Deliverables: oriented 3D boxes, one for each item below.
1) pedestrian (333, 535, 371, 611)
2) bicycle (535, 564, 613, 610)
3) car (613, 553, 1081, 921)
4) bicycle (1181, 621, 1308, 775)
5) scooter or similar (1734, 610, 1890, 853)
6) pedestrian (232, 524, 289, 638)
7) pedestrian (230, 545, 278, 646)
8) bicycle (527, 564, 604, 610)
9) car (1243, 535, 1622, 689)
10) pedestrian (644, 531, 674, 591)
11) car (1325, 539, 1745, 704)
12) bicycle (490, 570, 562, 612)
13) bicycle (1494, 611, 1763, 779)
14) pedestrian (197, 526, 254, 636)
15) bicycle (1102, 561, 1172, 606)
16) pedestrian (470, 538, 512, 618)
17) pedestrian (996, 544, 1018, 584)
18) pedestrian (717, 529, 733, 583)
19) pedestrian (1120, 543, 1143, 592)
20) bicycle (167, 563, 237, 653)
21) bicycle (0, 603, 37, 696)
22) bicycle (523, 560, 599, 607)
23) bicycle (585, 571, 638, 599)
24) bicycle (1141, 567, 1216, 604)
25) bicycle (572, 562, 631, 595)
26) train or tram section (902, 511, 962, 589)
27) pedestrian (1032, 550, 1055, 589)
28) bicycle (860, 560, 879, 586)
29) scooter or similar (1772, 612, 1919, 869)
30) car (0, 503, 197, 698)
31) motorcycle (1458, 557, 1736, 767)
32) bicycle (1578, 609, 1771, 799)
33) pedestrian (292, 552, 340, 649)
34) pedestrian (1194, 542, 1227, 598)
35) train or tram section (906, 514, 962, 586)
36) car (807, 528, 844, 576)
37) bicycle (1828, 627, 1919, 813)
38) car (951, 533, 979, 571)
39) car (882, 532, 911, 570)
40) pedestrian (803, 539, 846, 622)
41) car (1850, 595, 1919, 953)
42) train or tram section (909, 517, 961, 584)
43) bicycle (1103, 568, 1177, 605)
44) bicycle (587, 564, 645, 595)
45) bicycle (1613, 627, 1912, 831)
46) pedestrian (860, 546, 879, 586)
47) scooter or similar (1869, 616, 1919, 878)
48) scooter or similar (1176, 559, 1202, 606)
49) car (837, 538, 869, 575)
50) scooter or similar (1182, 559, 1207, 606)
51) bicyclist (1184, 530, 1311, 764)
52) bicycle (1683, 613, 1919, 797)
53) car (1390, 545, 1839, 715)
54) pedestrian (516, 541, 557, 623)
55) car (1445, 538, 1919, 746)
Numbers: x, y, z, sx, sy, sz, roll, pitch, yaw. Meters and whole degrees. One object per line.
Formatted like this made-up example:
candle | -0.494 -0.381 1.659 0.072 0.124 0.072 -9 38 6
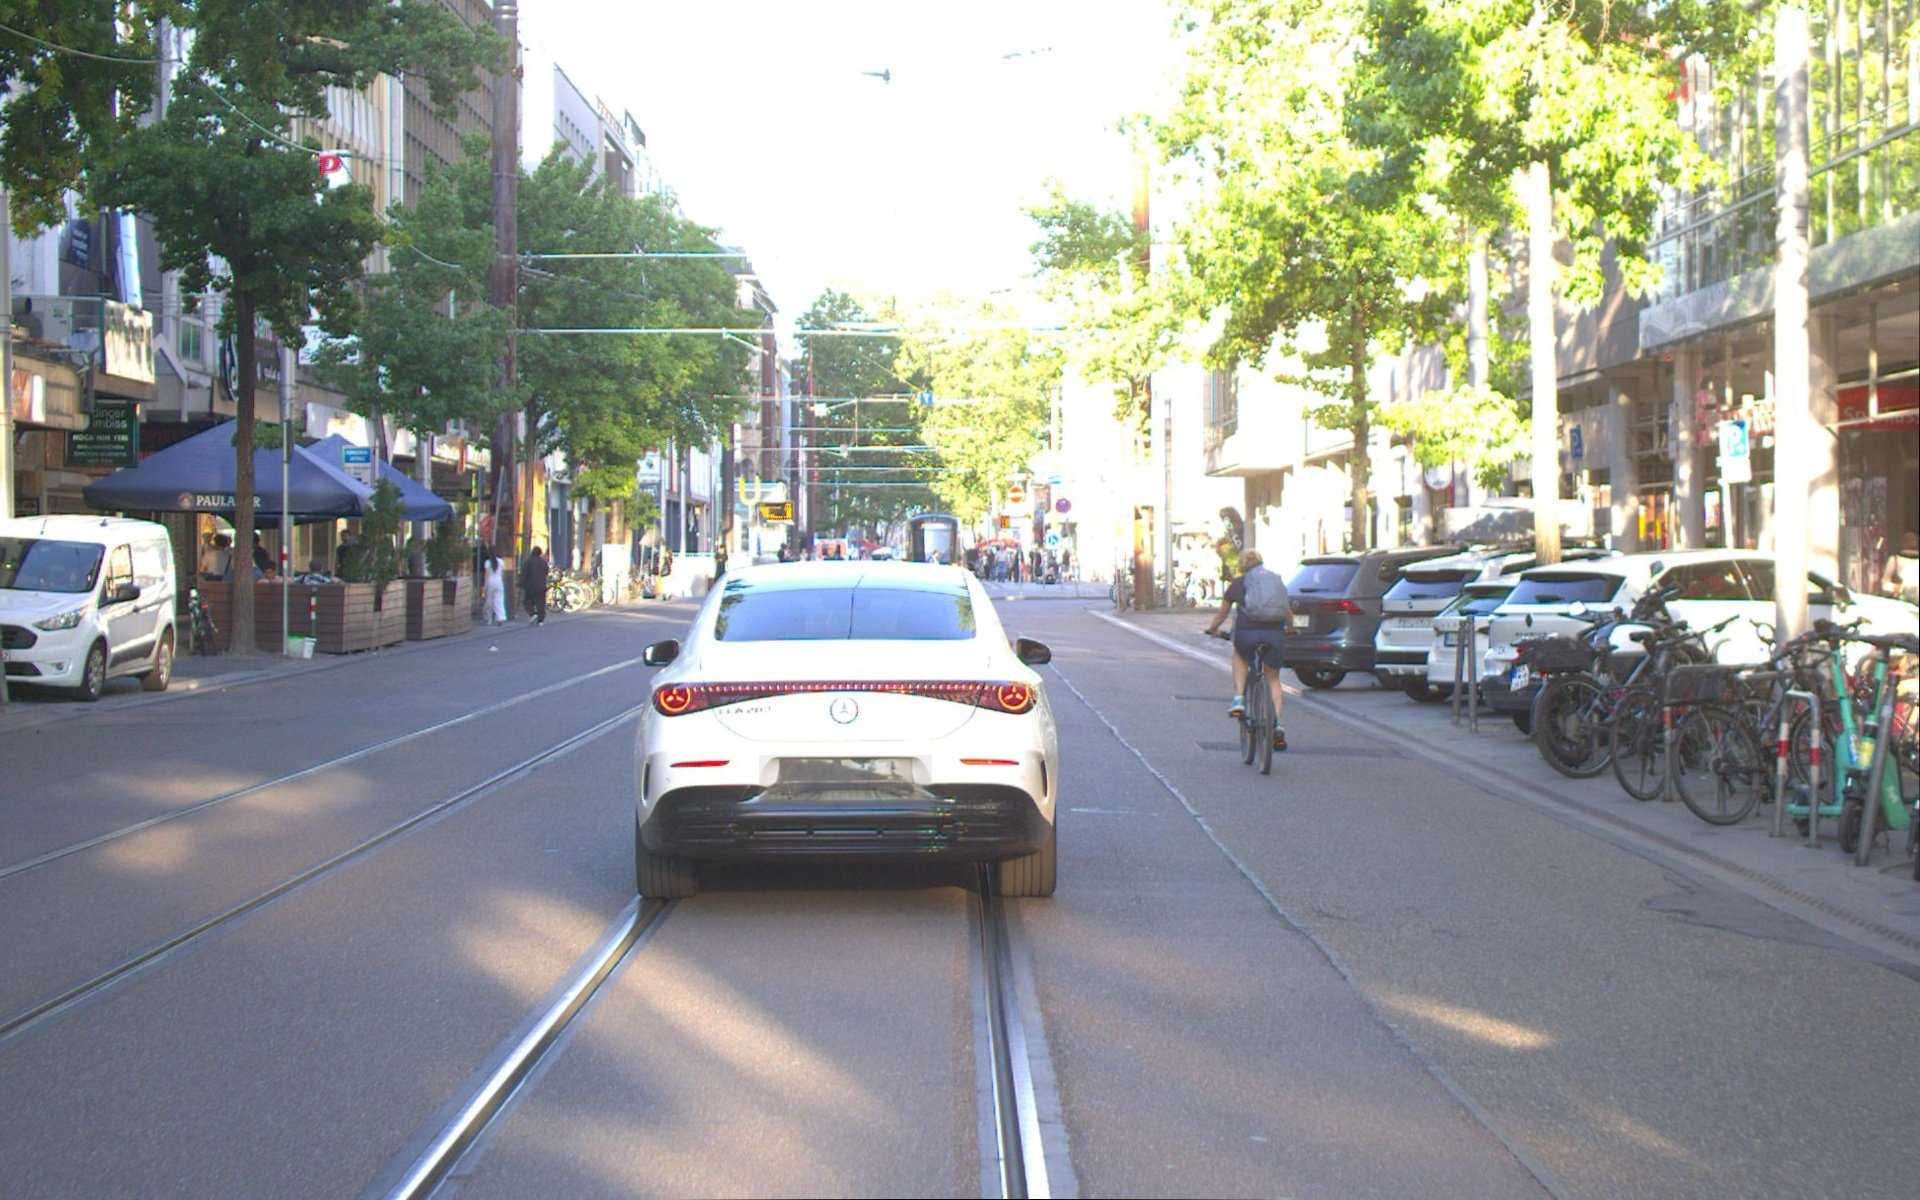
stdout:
pedestrian | -12.498 -0.561 70.674 0.597 1.527 0.671 2 1 1
bicycle | -9.447 -0.330 84.153 1.846 1.073 0.377 2 1 -4
car | -0.469 0.526 15.966 1.857 1.450 4.175 1 1 0
bicycle | 2.057 0.681 24.645 0.719 0.992 2.058 2 1 9
scooter or similar | 4.757 0.714 19.250 0.450 1.272 1.307 -3 1 -1
pedestrian | -10.790 -0.295 53.025 0.717 1.719 0.675 1 1 -1
pedestrian | -10.070 -0.065 49.046 0.549 1.424 0.583 1 1 -1
bicycle | -9.468 -0.314 82.552 1.788 1.073 0.377 2 1 -4
car | 5.678 0.119 41.142 4.342 1.646 1.694 -3 1 -31
pedestrian | -9.108 -1.187 104.037 0.788 1.795 0.844 0 1 1
car | 6.244 0.204 37.226 4.235 1.582 1.884 -3 1 -31
bicycle | -10.086 -0.207 79.868 1.596 0.927 0.377 2 1 7
bicycle | 4.872 0.676 25.016 1.890 1.116 0.667 -2 0 -29
pedestrian | -10.936 -0.286 51.211 0.673 1.601 0.720 1 1 -1
bicycle | 5.162 -0.486 100.130 1.908 1.277 0.610 -2 1 -11
pedestrian | -9.038 -0.419 66.223 0.622 1.504 0.833 3 1 0
pedestrian | 2.151 -1.648 157.858 0.960 1.779 0.804 -1 1 0
pedestrian | -8.375 -1.565 122.341 0.571 1.922 0.541 0 1 -4
pedestrian | 6.253 -1.191 125.569 0.748 1.779 0.767 -1 1 0
bicycle | -10.346 0.094 46.894 0.697 1.117 2.087 3 1 -18
bicycle | -9.732 0.455 32.357 0.836 0.862 1.856 3 1 39
bicycle | -10.066 -0.414 86.688 1.846 1.137 0.377 2 1 1
bicycle | -10.193 -0.434 100.495 1.493 0.780 0.344 2 1 1
bicycle | 6.509 -0.426 102.440 2.113 1.092 0.610 0 0 -13
bicycle | -9.423 -0.569 90.282 1.493 0.838 0.344 2 1 1
train or tram section | -1.269 -2.342 160.703 2.694 3.504 12.545 0 1 0
pedestrian | 3.812 -1.402 157.352 0.960 1.779 0.804 -1 1 0
bicycle | -4.072 -1.217 154.422 0.800 1.138 2.257 2 1 -2
scooter or similar | 5.035 0.719 18.292 1.302 1.272 0.564 -4 1 -31
car | -9.407 -0.050 35.755 1.795 1.858 4.553 3 1 1
motorcycle | 4.945 0.459 26.568 2.313 1.504 0.858 -3 0 -43
bicycle | 4.804 0.684 23.055 0.481 1.159 1.691 -3 1 40
pedestrian | -9.173 0.004 48.992 0.549 1.352 0.583 1 1 -1
pedestrian | 7.994 -0.956 109.699 0.899 1.739 0.689 -3 1 0
train or tram section | -1.291 -2.508 173.256 2.694 3.504 12.545 0 1 0
car | -8.253 -2.938 211.201 1.993 2.887 5.275 0 1 0
bicycle | 6.364 0.711 21.669 1.669 1.071 0.733 -4 3 -30
car | 0.391 -3.668 262.303 2.099 2.887 5.285 0 1 0
car | -4.807 -3.721 262.012 2.099 2.887 5.275 0 1 0
pedestrian | -2.978 -0.423 75.790 0.841 1.795 0.790 2 1 1
car | 6.384 0.603 15.085 5.046 1.464 1.977 -3 1 -36
train or tram section | -1.319 -2.660 185.097 2.694 3.504 11.143 0 1 0
bicycle | 5.394 -0.411 103.114 2.113 1.092 0.610 1 0 -11
bicycle | -9.171 -0.553 91.638 1.493 0.780 0.344 2 1 1
bicycle | 4.859 0.757 20.806 1.558 1.084 0.869 -4 3 -30
pedestrian | -4.062 -1.538 154.429 0.800 1.776 0.849 2 0 -1
scooter or similar | 5.131 0.709 17.472 0.458 1.272 1.304 -3 1 37
scooter or similar | 6.350 -0.492 95.362 0.527 1.273 0.660 -2 1 -11
car | -7.134 -2.923 229.983 1.910 2.452 5.275 0 1 0
scooter or similar | 6.469 -0.482 94.727 0.491 1.273 0.660 -2 1 -11
bicyclist | 2.063 0.322 24.588 0.778 1.607 0.912 2 1 9
bicycle | 5.692 0.678 22.767 1.689 1.102 0.632 -3 0 -26
car | 6.568 0.274 34.463 4.145 1.494 1.689 -2 1 -23
pedestrian | -8.218 -0.358 66.716 0.622 1.545 0.852 3 1 0
car | 6.412 0.320 29.751 4.146 1.566 1.854 -3 1 -33
